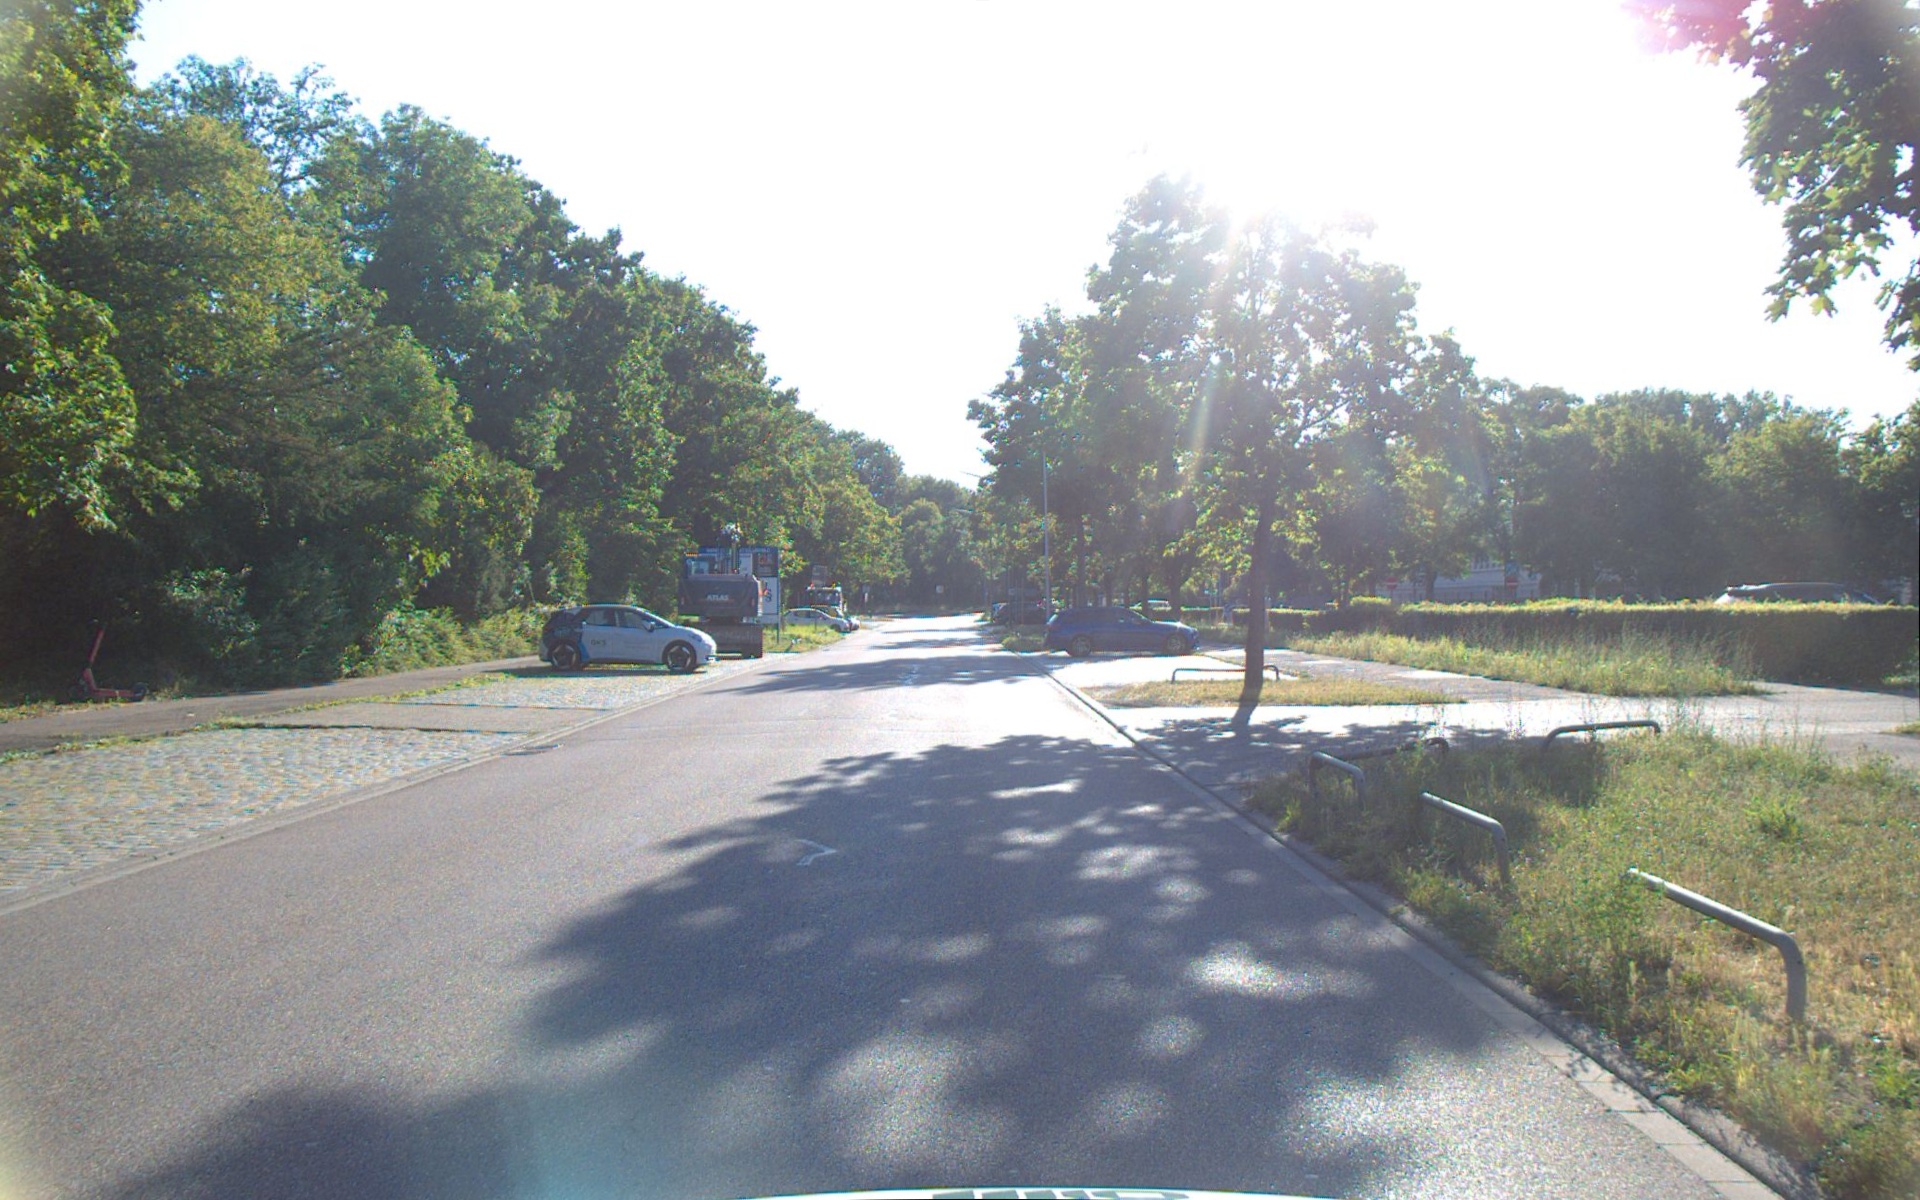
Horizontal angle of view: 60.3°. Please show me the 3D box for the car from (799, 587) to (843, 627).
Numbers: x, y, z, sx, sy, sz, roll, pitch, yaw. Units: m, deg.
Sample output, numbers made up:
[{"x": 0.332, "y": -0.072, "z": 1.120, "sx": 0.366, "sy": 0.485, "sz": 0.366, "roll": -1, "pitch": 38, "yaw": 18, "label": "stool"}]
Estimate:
[{"x": -8.607, "y": 0.426, "z": 102.103, "sx": 2.469, "sy": 2.428, "sz": 4.366, "roll": -1, "pitch": 0, "yaw": -7, "label": "car"}]

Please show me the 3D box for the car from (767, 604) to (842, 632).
[{"x": -8.971, "y": 1.033, "z": 95.290, "sx": 4.276, "sy": 1.505, "sz": 1.997, "roll": -1, "pitch": 0, "yaw": -7, "label": "car"}]

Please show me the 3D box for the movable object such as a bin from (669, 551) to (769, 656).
[{"x": -7.579, "y": 0.108, "z": 52.557, "sx": 2.783, "sy": 3.122, "sz": 4.922, "roll": -1, "pitch": 0, "yaw": -5, "label": "movable object such as a bin"}]

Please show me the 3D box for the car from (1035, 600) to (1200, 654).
[{"x": 4.656, "y": 0.778, "z": 49.404, "sx": 4.742, "sy": 1.505, "sz": 2.000, "roll": -1, "pitch": 0, "yaw": 0, "label": "car"}]

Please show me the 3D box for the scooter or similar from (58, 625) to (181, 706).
[{"x": -12.673, "y": 0.967, "z": 24.971, "sx": 0.566, "sy": 1.165, "sz": 1.577, "roll": -1, "pitch": -1, "yaw": 39, "label": "scooter or similar"}]

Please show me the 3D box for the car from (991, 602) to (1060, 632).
[{"x": 4.153, "y": 1.080, "z": 105.686, "sx": 4.270, "sy": 1.759, "sz": 1.999, "roll": 1, "pitch": 0, "yaw": -1, "label": "car"}]

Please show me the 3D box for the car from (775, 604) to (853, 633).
[{"x": -8.202, "y": 1.021, "z": 92.722, "sx": 4.276, "sy": 1.505, "sz": 1.997, "roll": -1, "pitch": 0, "yaw": -7, "label": "car"}]

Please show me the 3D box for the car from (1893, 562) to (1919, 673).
[{"x": 17.132, "y": 0.319, "z": 25.489, "sx": 4.338, "sy": 1.735, "sz": 2.059, "roll": 1, "pitch": 0, "yaw": 0, "label": "car"}]

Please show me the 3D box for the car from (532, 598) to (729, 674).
[{"x": -7.863, "y": 0.840, "z": 39.769, "sx": 4.269, "sy": 1.574, "sz": 2.000, "roll": 3, "pitch": 0, "yaw": 0, "label": "car"}]
